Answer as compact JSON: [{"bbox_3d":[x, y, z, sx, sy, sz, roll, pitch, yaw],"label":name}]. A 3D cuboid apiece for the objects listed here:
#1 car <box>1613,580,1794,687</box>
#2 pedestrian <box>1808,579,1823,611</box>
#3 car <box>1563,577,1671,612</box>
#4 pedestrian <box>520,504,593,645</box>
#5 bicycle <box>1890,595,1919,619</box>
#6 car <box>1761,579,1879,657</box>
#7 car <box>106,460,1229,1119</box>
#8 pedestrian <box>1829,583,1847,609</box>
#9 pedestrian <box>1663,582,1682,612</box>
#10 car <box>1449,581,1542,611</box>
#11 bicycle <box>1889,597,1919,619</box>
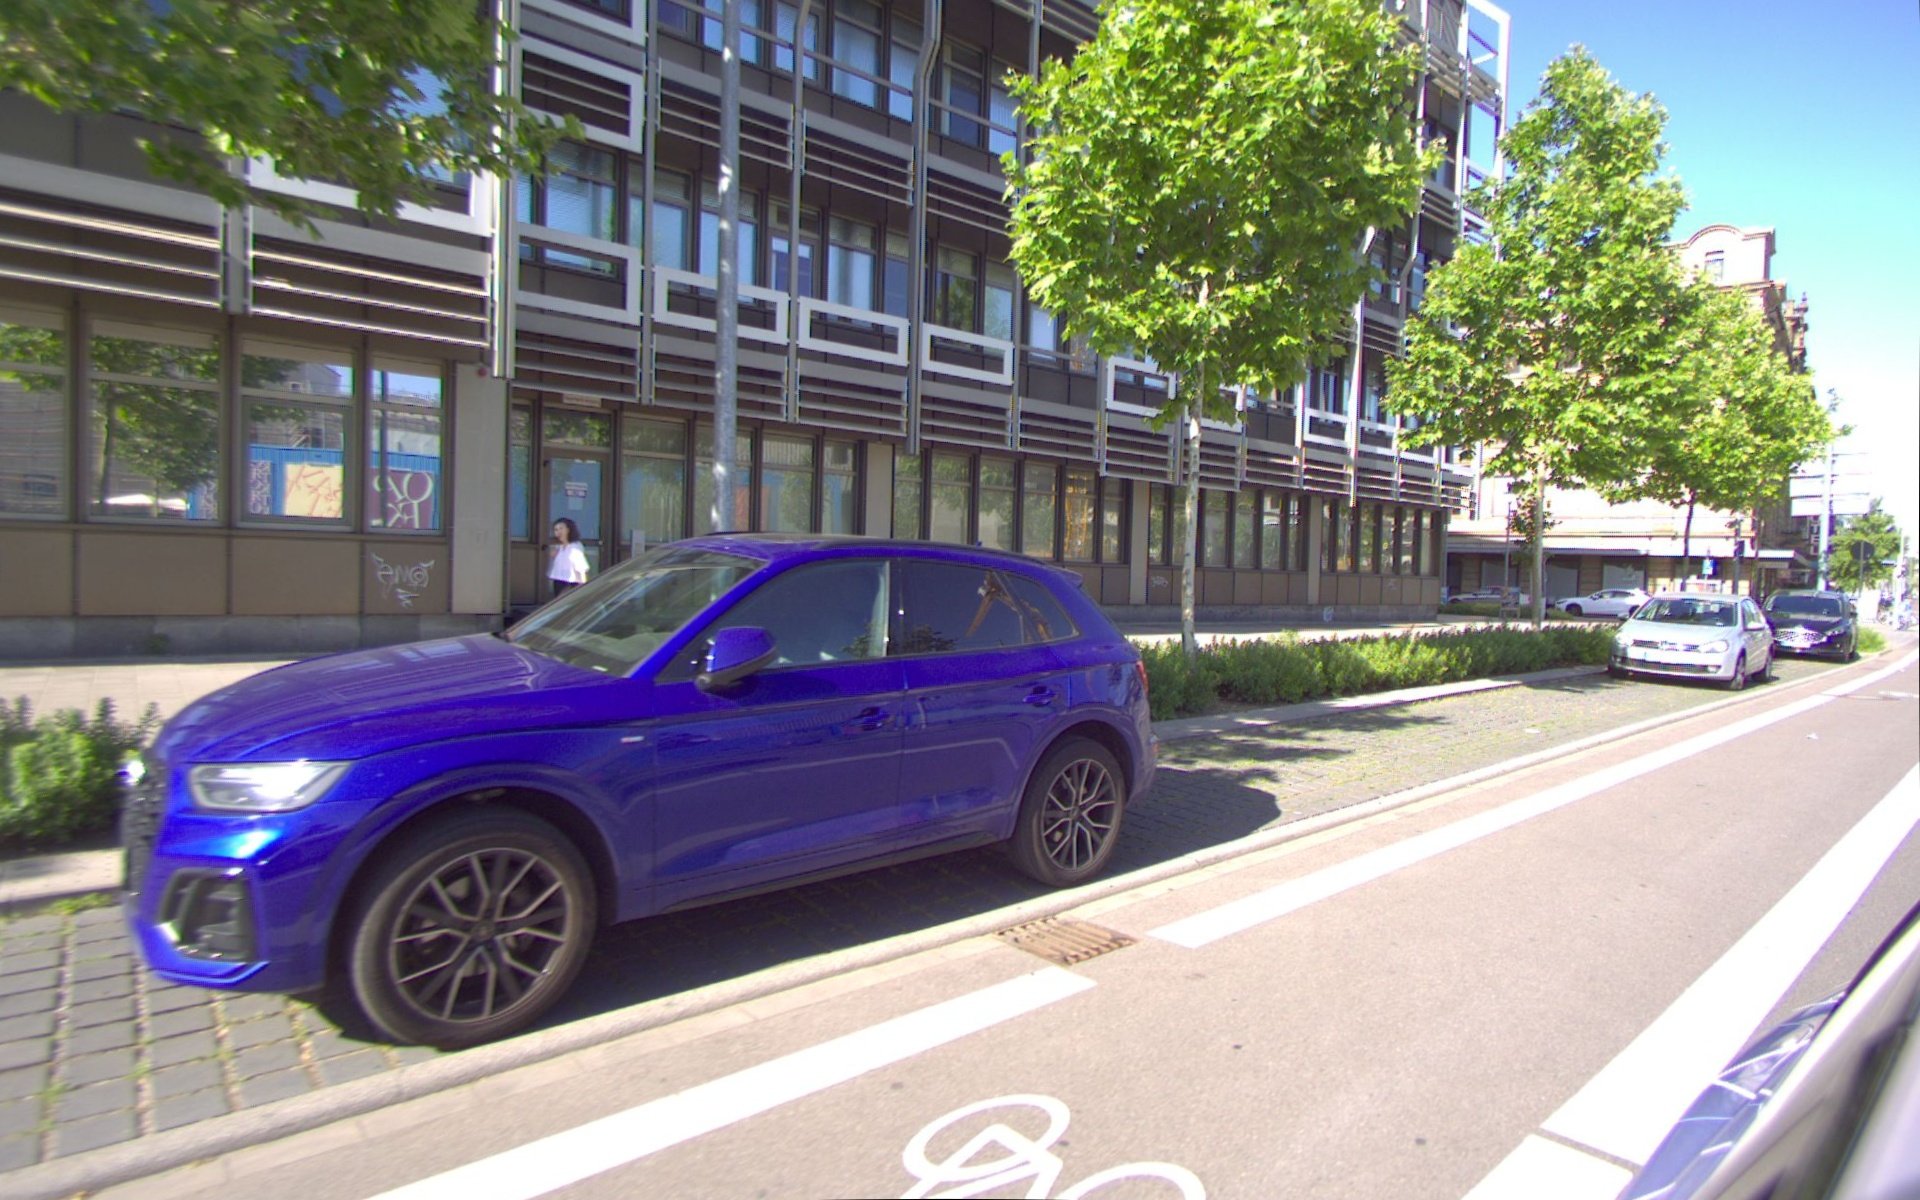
[{"bbox_3d":[12.467,0.472,16.878,4.085,1.482,1.621,0,4,-43],"label":"car"},{"bbox_3d":[48.712,-0.274,57.627,0.492,1.824,0.512,1,1,-38],"label":"pedestrian"},{"bbox_3d":[32.663,-0.320,50.376,4.383,1.563,1.829,3,2,37],"label":"car"},{"bbox_3d":[-4.862,-0.311,12.187,0.661,1.642,0.512,1,4,-38],"label":"pedestrian"},{"bbox_3d":[55.463,0.418,58.890,1.865,1.266,0.681,7,5,43],"label":"bicycle"},{"bbox_3d":[20.963,0.368,24.597,4.396,1.679,1.749,0,2,-44],"label":"car"},{"bbox_3d":[-0.935,0.422,4.816,4.763,1.677,1.854,0,4,-41],"label":"car"},{"bbox_3d":[57.020,-0.246,65.696,0.752,1.603,0.796,5,4,44],"label":"pedestrian"},{"bbox_3d":[35.045,-0.161,49.803,0.680,1.468,0.535,3,2,39],"label":"pedestrian"},{"bbox_3d":[28.361,-0.226,53.674,4.167,1.412,1.537,3,1,36],"label":"car"},{"bbox_3d":[53.577,0.491,56.815,2.051,1.133,0.593,6,4,44],"label":"bicycle"}]
